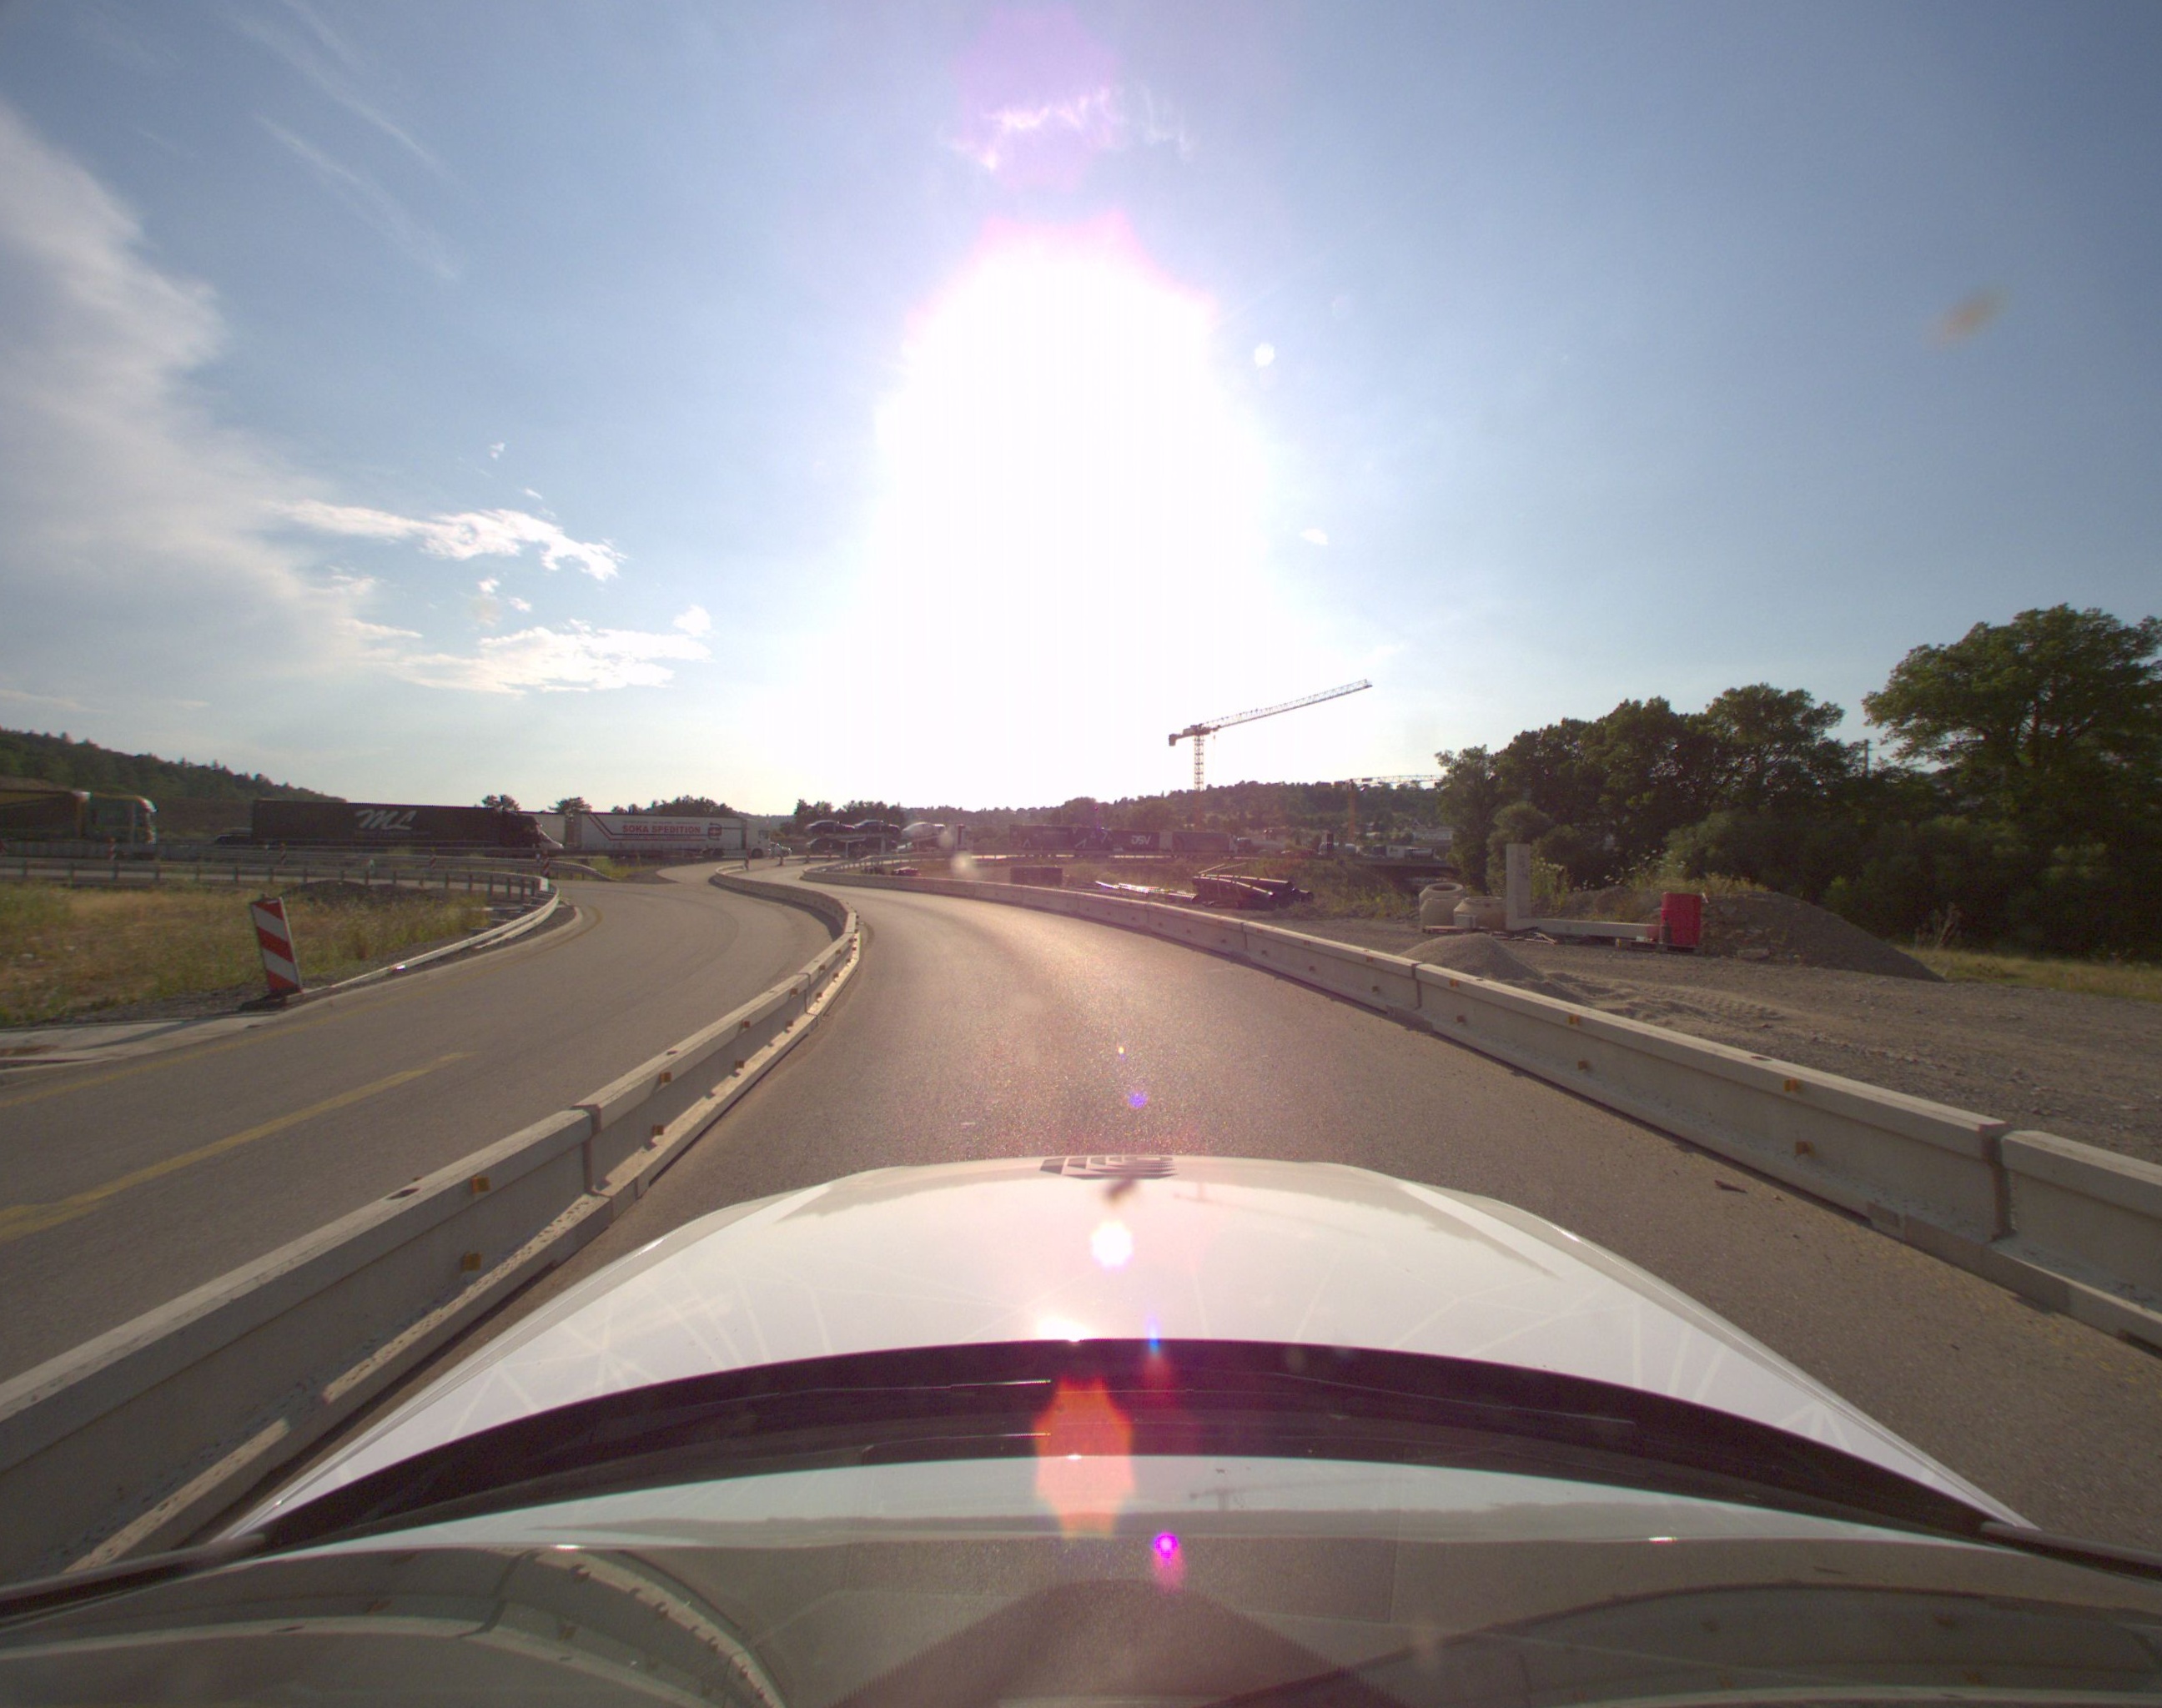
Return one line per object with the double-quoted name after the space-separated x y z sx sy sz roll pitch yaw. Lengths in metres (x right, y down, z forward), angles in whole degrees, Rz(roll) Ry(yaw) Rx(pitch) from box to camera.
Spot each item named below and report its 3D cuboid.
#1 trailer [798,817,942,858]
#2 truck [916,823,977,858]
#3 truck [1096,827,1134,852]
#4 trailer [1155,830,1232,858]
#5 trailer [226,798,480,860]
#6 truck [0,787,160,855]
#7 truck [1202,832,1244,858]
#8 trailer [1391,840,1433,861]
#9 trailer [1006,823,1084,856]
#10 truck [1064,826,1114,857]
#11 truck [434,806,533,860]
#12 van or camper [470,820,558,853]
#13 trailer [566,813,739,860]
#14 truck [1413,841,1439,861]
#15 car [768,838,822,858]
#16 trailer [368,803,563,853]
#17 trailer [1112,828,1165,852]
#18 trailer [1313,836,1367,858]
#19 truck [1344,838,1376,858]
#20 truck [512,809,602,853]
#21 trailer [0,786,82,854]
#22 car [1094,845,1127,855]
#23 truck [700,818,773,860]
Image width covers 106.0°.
-22.696 -1.659 88.964 15.834 3.996 2.831 1 0 -44 "trailer"
-15.737 -1.553 95.674 6.662 3.996 2.823 1 0 -44 "truck"
5.384 -2.245 129.211 5.719 3.727 2.969 1 -1 -43 "truck"
17.753 -1.474 127.418 14.828 3.996 3.355 1 0 -44 "trailer"
-52.957 -1.688 60.005 13.707 4.061 2.458 1 0 -44 "trailer"
-62.343 -1.973 50.911 6.045 3.901 2.458 1 0 -43 "truck"
23.192 -1.423 132.696 6.662 3.996 3.313 1 0 -44 "truck"
74.129 -0.756 181.941 14.332 4.314 3.076 1 0 -44 "trailer"
-4.617 -1.797 106.386 10.852 4.092 2.932 1 -1 -43 "trailer"
1.085 -1.693 111.629 6.660 3.996 2.860 1 0 -43 "truck"
-47.661 -1.626 65.065 6.044 4.060 2.459 1 0 -43 "truck"
-48.362 -1.463 69.517 5.934 2.619 1.977 1 1 -41 "van or camper"
-38.523 -1.462 73.967 13.708 3.878 2.458 1 0 -44 "trailer"
79.094 -0.685 186.739 6.662 4.285 3.070 1 0 -44 "truck"
-30.181 -0.604 86.121 5.007 1.980 2.011 0 2 -43 "car"
-54.386 -2.181 72.499 13.552 3.996 2.831 1 0 -44 "trailer"
9.468 -2.210 133.013 9.622 3.752 2.980 1 -1 -43 "trailer"
50.745 -1.268 159.152 14.828 3.996 3.355 1 0 -44 "trailer"
56.454 -1.254 164.676 6.662 3.996 3.360 1 0 -44 "truck"
-49.601 -2.120 77.195 6.662 3.996 2.823 1 0 -44 "truck"
-67.617 -2.067 45.877 14.054 3.958 2.458 1 0 -44 "trailer"
4.537 -0.587 124.320 5.007 1.500 2.011 0 3 -43 "car"
-33.372 -1.418 78.995 6.045 3.878 2.458 1 0 -44 "truck"
